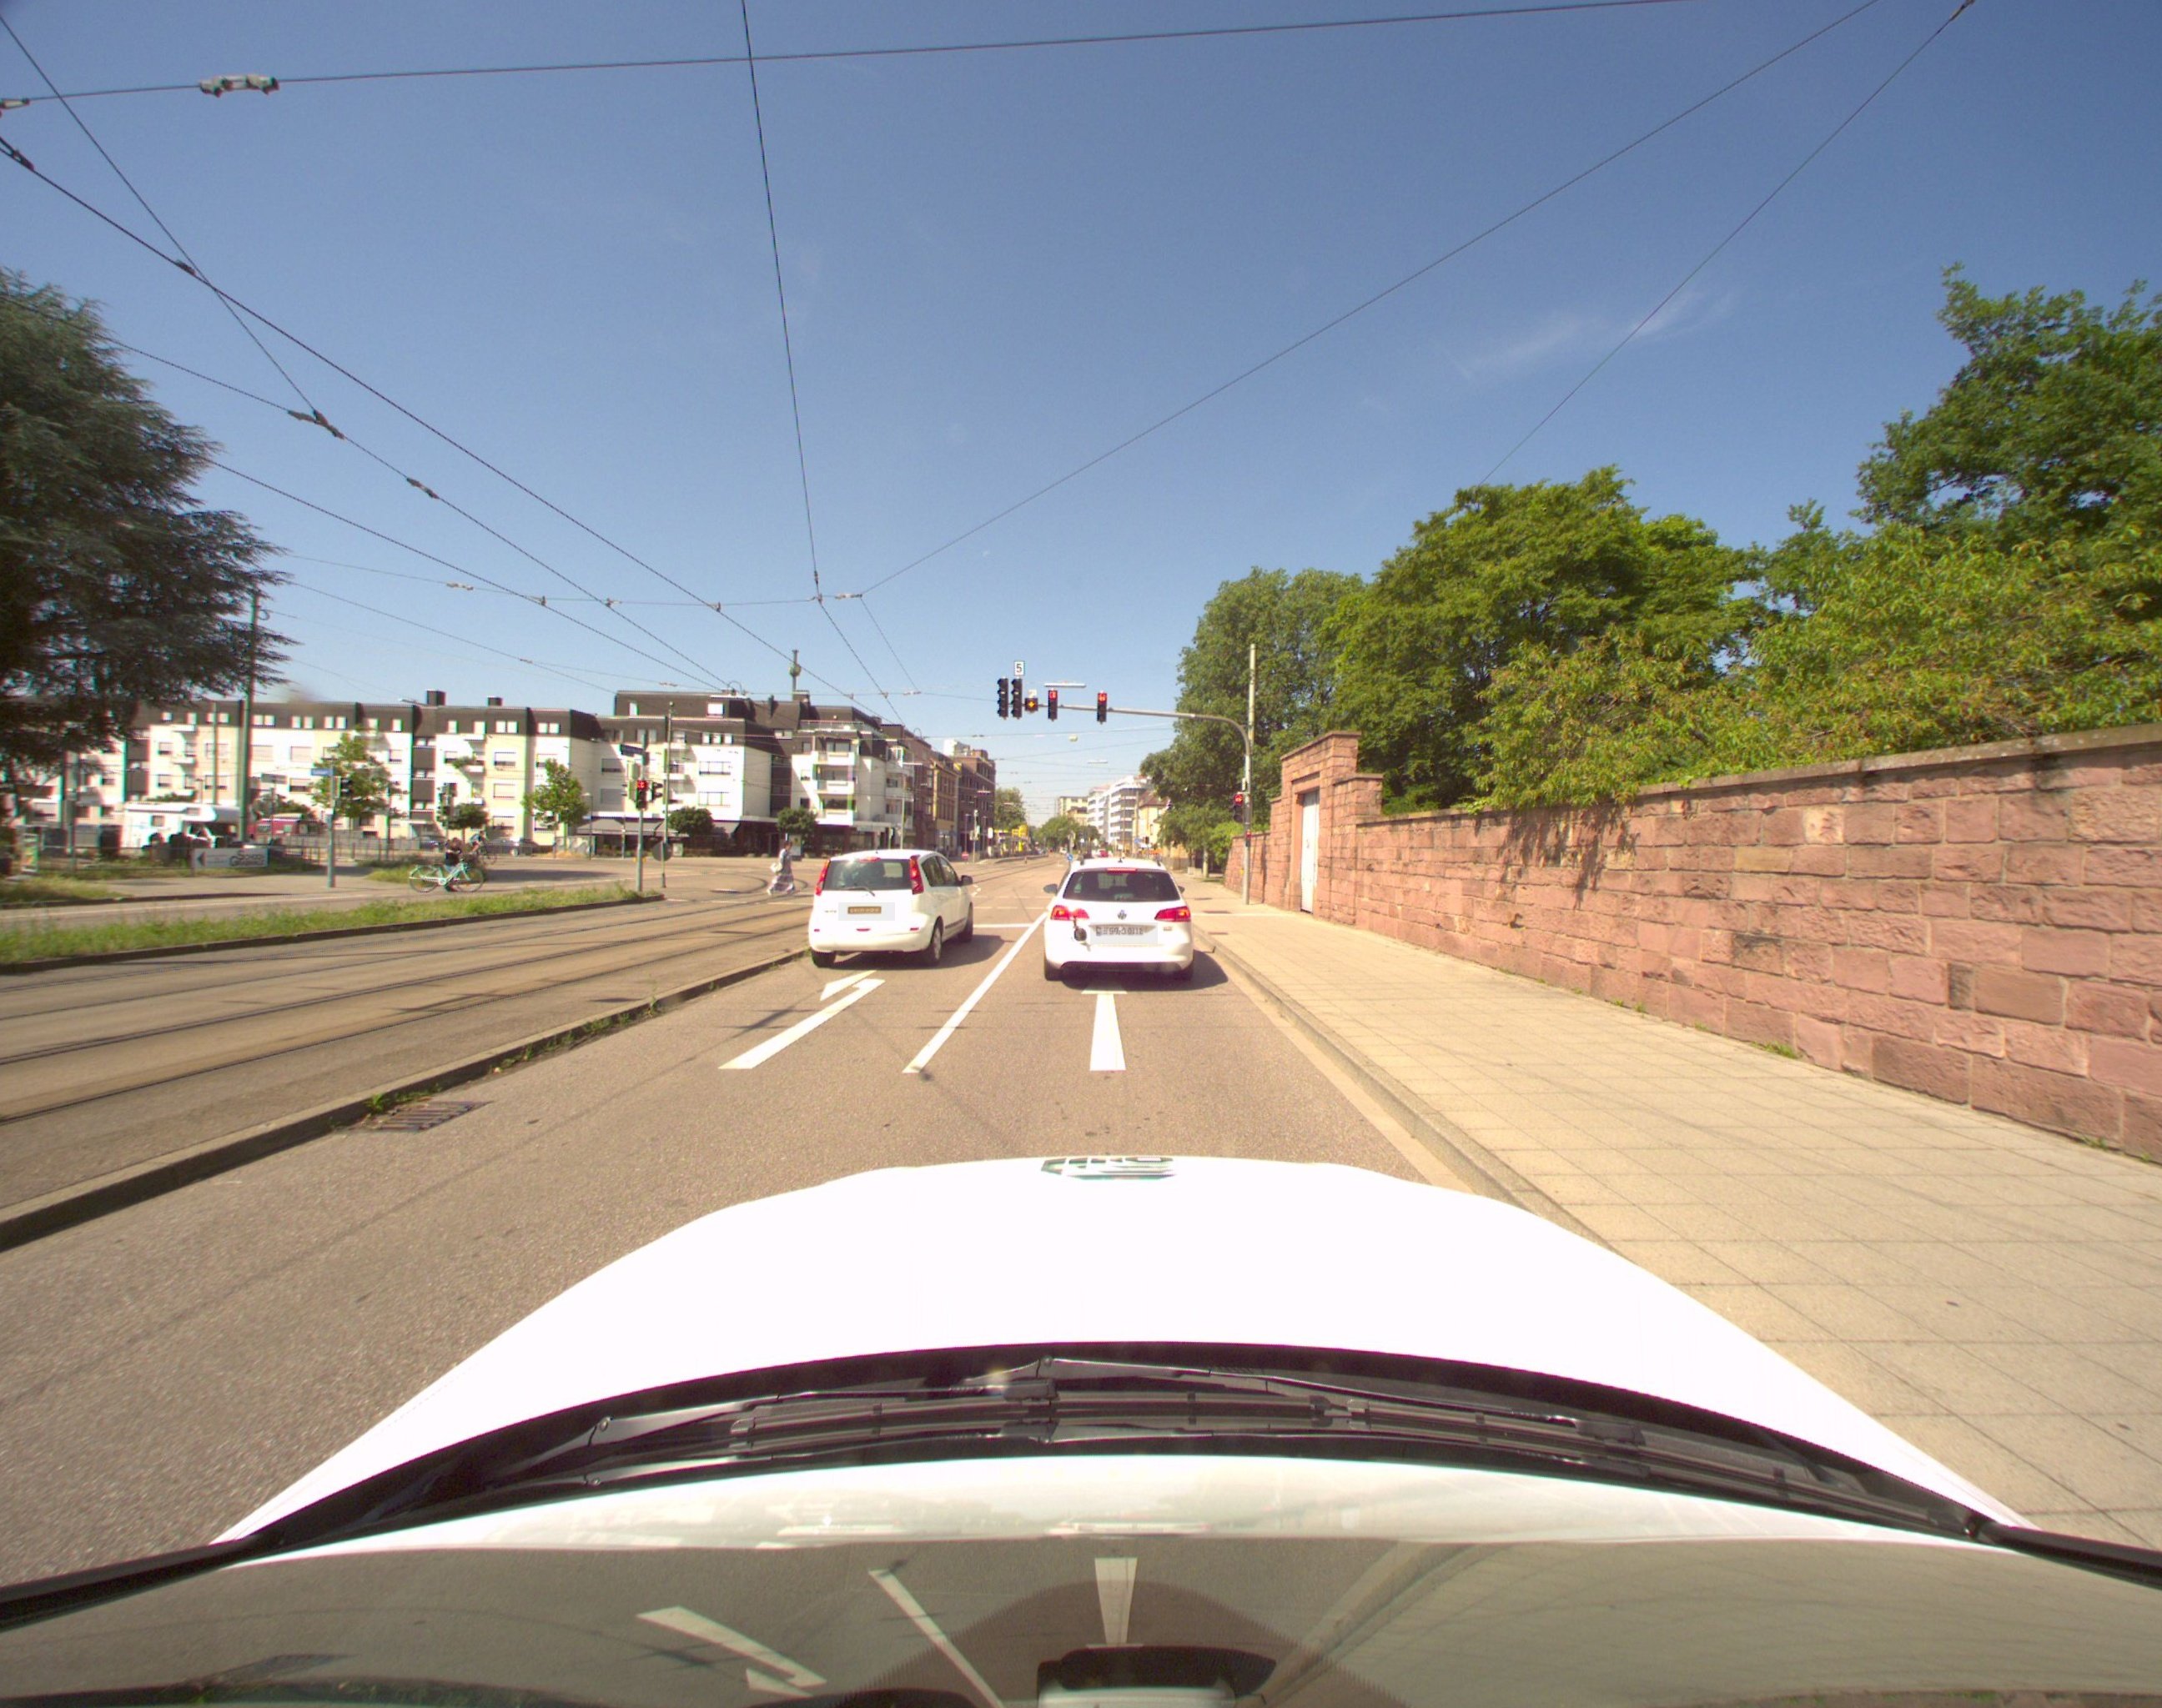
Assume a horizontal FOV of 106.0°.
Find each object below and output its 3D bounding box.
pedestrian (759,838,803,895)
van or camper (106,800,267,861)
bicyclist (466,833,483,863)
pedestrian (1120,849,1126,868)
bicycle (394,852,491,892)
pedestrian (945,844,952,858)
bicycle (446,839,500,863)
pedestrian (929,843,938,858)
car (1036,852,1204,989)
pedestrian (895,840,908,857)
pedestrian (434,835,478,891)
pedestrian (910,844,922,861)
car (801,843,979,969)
[{"bbox_3d":[-8.834,0.362,24.023,0.969,1.651,0.955,0,-1,-3],"label":"pedestrian"},{"bbox_3d":[-47.258,-1.194,43.144,5.664,3.093,2.575,-1,-1,1],"label":"van or camper"},{"bbox_3d":[-32.490,-0.326,43.624,0.640,1.612,0.558,0,-1,-27],"label":"bicyclist"},{"bbox_3d":[5.169,0.588,99.747,0.687,2.325,1.233,-1,-1,3],"label":"pedestrian"},{"bbox_3d":[-18.122,0.499,23.164,2.021,1.090,0.707,1,0,-13],"label":"bicycle"},{"bbox_3d":[-16.694,-0.342,102.640,0.860,1.743,0.974,0,-1,-4],"label":"pedestrian"},{"bbox_3d":[-32.518,-0.164,43.606,2.254,1.297,0.555,0,-1,-28],"label":"bicycle"},{"bbox_3d":[-17.484,-0.411,96.676,0.860,1.743,0.974,0,-1,-4],"label":"pedestrian"},{"bbox_3d":[0.481,0.714,10.750,1.801,1.448,4.002,0,0,2],"label":"car"},{"bbox_3d":[-17.865,-0.546,81.079,0.980,1.743,0.854,0,-1,-43],"label":"pedestrian"},{"bbox_3d":[-18.188,0.264,23.718,0.746,1.572,0.672,2,-2,-13],"label":"pedestrian"},{"bbox_3d":[-17.672,-0.146,87.213,0.978,1.743,0.856,0,-1,-30],"label":"pedestrian"},{"bbox_3d":[-2.649,0.629,12.155,1.635,1.566,3.805,0,1,2],"label":"car"}]
